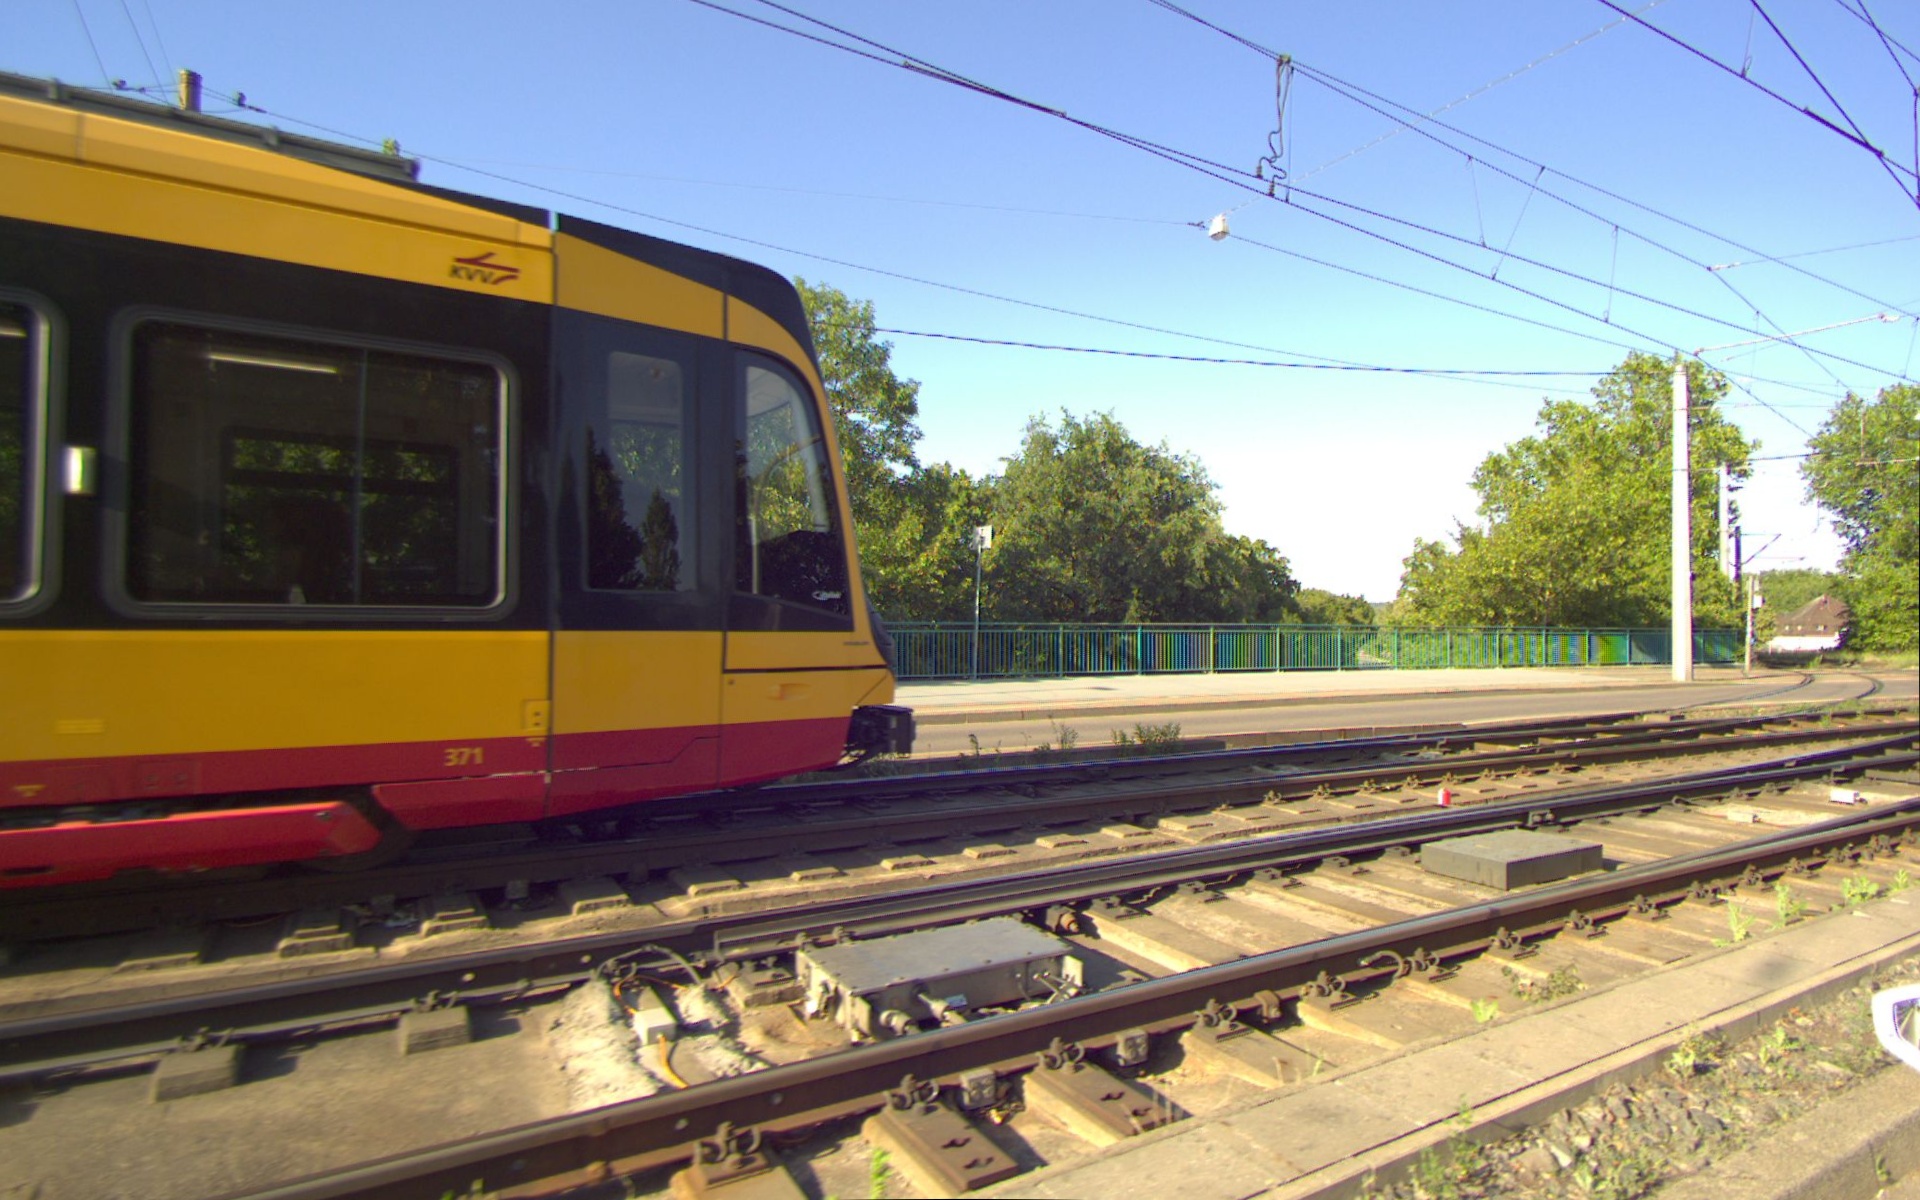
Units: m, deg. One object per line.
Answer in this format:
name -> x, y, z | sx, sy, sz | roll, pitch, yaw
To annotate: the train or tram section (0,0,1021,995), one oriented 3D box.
train or tram section -> -5.767, -0.510, 4.227 | 12.554, 3.952, 2.963 | 2, -1, -31
